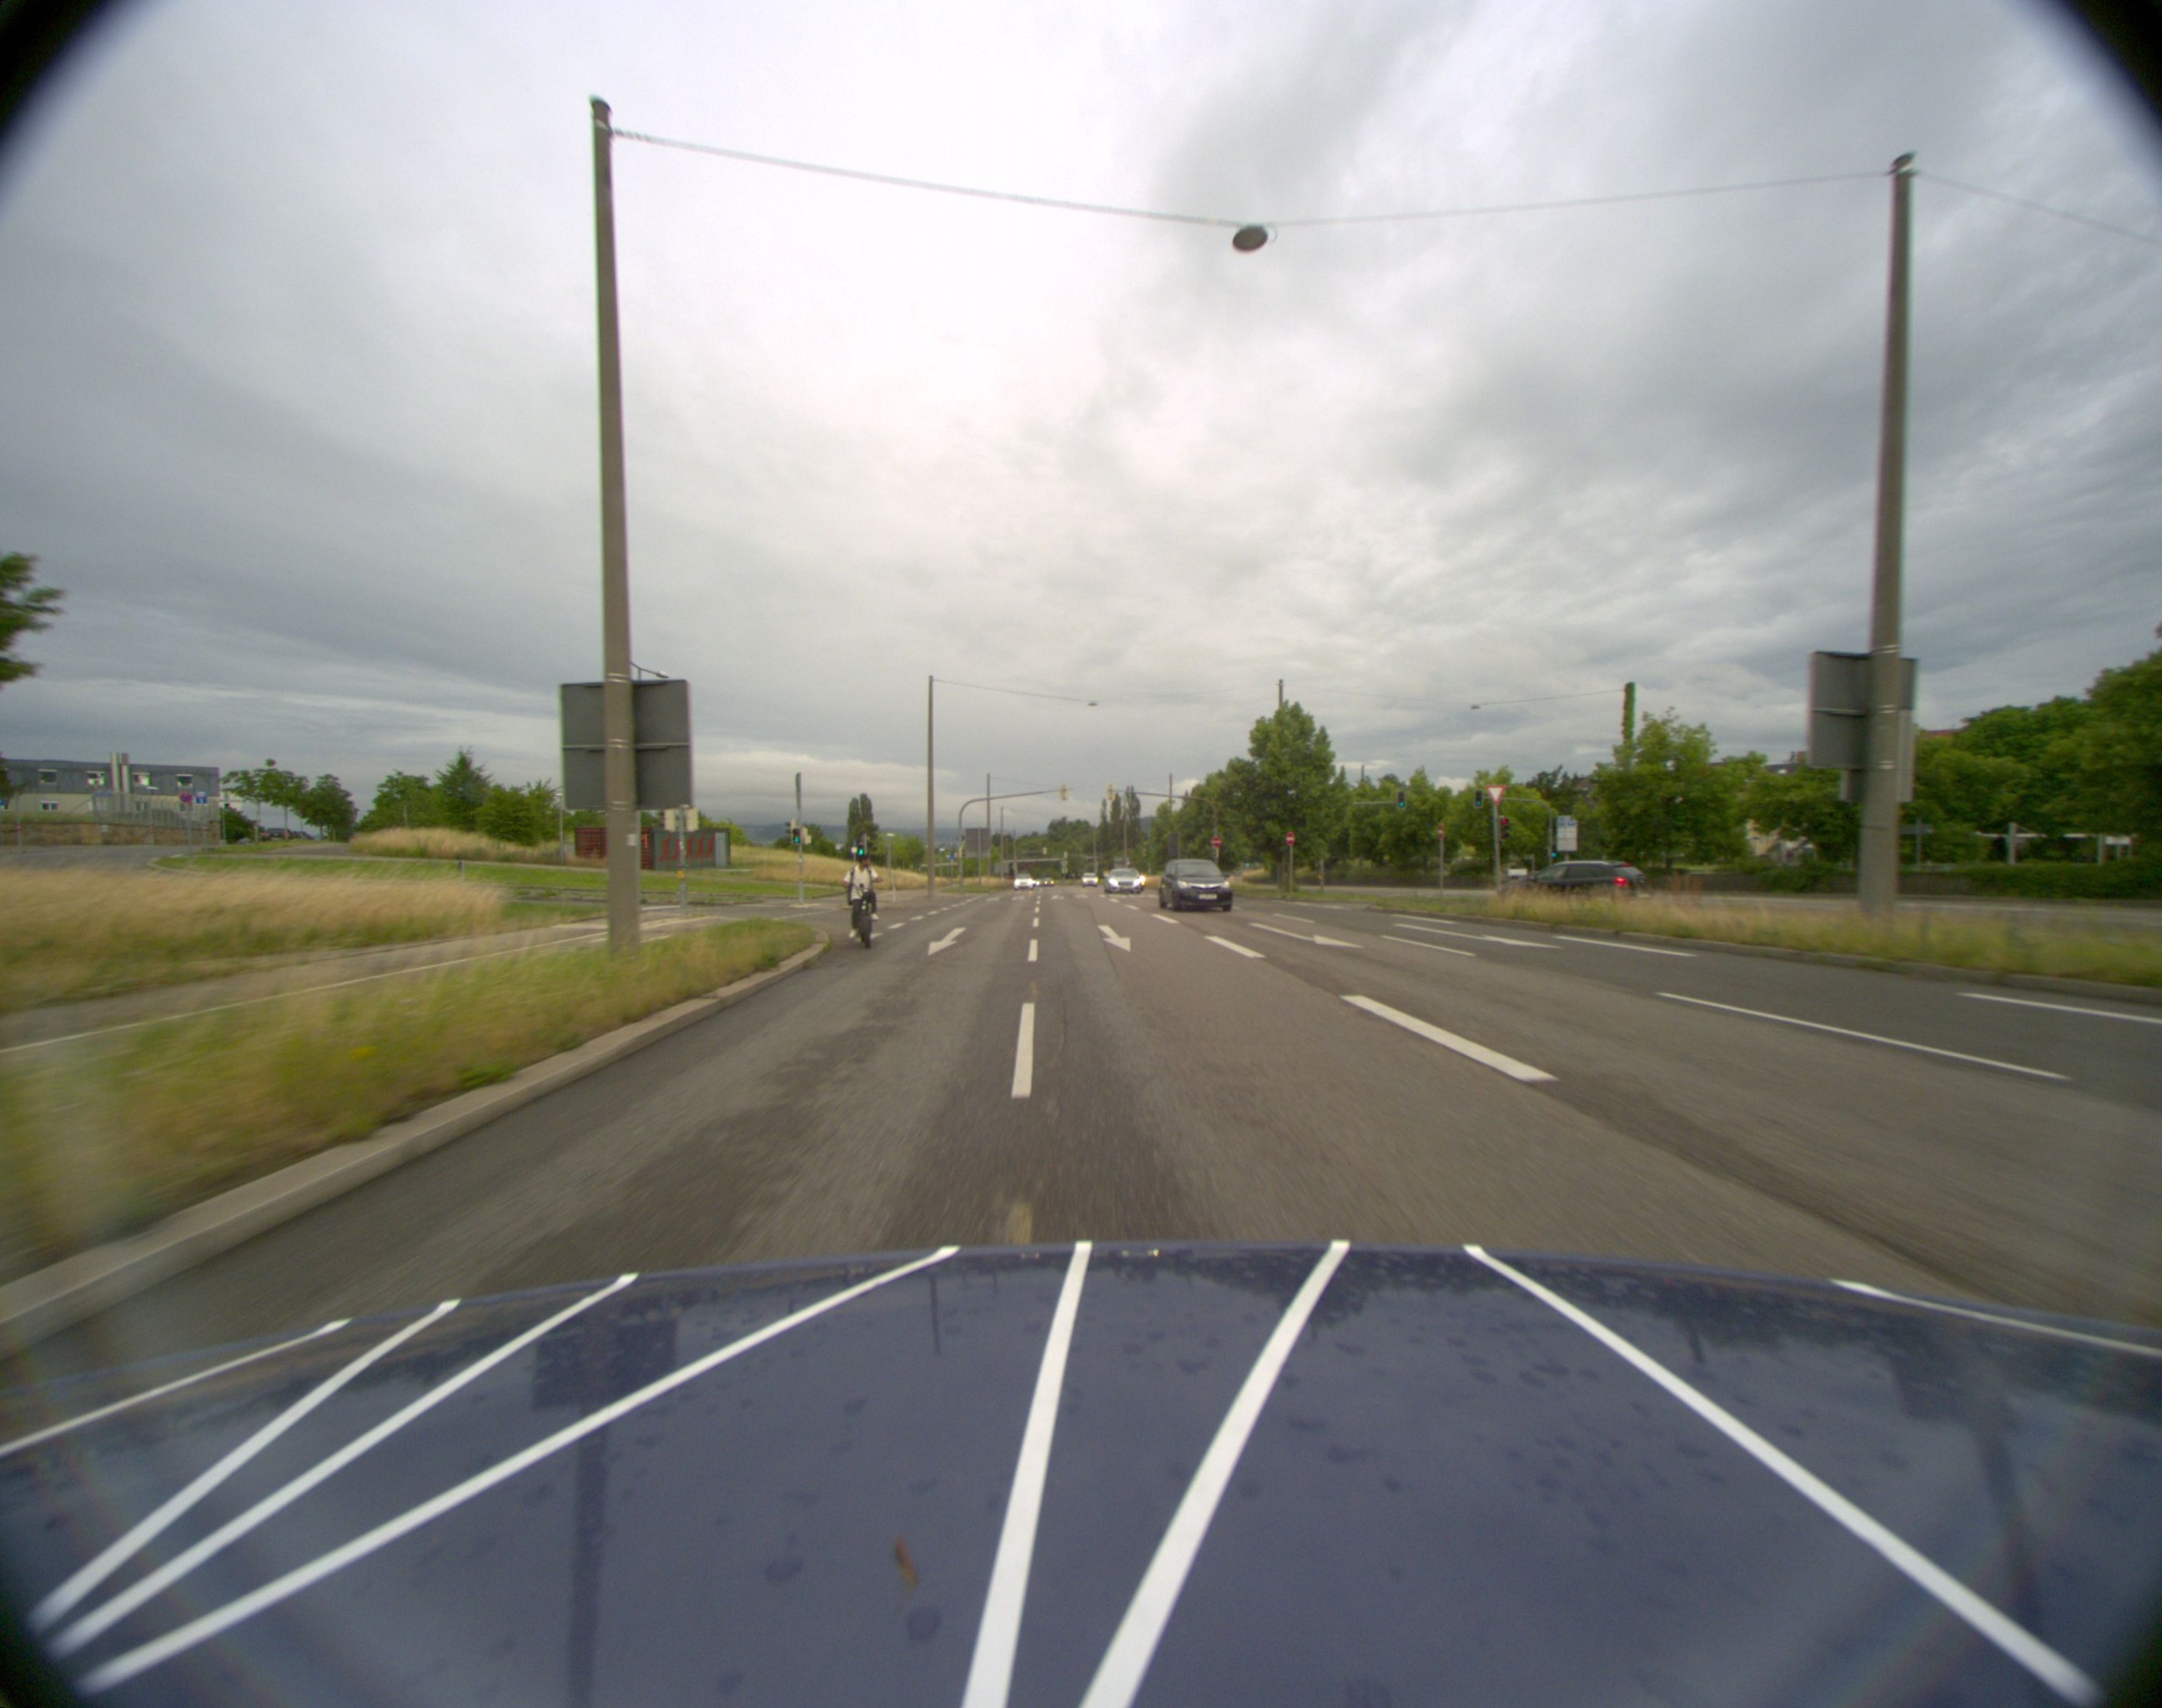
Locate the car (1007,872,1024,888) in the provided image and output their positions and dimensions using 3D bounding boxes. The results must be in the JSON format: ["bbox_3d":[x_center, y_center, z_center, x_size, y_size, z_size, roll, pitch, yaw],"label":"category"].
[{"bbox_3d":[-7.649,3.019,89.089,1.843,1.532,3.815,-4,2,-3],"label":"car"}]

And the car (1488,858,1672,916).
[{"bbox_3d":[14.182,0.897,21.812,1.899,1.498,3.991,1,-1,-29],"label":"car"}]

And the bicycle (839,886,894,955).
[{"bbox_3d":[-3.902,1.158,13.728,0.636,1.098,1.749,0,0,-27],"label":"bicycle"}]

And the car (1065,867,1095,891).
[{"bbox_3d":[-0.110,1.953,59.229,1.928,1.724,4.025,4,-2,-4],"label":"car"}]

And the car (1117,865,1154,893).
[{"bbox_3d":[3.735,1.732,52.762,1.999,1.849,4.000,-1,-2,-4],"label":"car"}]

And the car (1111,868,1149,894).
[{"bbox_3d":[2.820,1.584,44.601,1.998,1.399,4.526,-3,-2,2],"label":"car"}]

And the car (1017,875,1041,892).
[{"bbox_3d":[-4.805,2.709,70.493,1.725,1.512,4.230,0,-2,3],"label":"car"}]

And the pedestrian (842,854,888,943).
[{"bbox_3d":[-3.947,0.781,13.833,0.636,1.561,0.893,0,0,-27],"label":"pedestrian"}]

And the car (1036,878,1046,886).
[{"bbox_3d":[-8.701,6.083,165.392,2.000,1.632,4.627,-3,-1,-7],"label":"car"}]

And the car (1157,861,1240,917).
[{"bbox_3d":[3.525,1.020,23.563,1.801,1.556,4.043,-1,-1,-2],"label":"car"}]

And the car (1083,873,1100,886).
[{"bbox_3d":[1.343,3.288,98.592,1.999,1.632,4.629,-3,-1,-1],"label":"car"}]

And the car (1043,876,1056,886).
[{"bbox_3d":[-5.805,4.882,138.705,2.000,1.632,4.626,-3,-1,-7],"label":"car"}]

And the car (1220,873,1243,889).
[{"bbox_3d":[19.163,3.421,96.713,1.999,2.001,4.000,1,-1,-1],"label":"car"}]
